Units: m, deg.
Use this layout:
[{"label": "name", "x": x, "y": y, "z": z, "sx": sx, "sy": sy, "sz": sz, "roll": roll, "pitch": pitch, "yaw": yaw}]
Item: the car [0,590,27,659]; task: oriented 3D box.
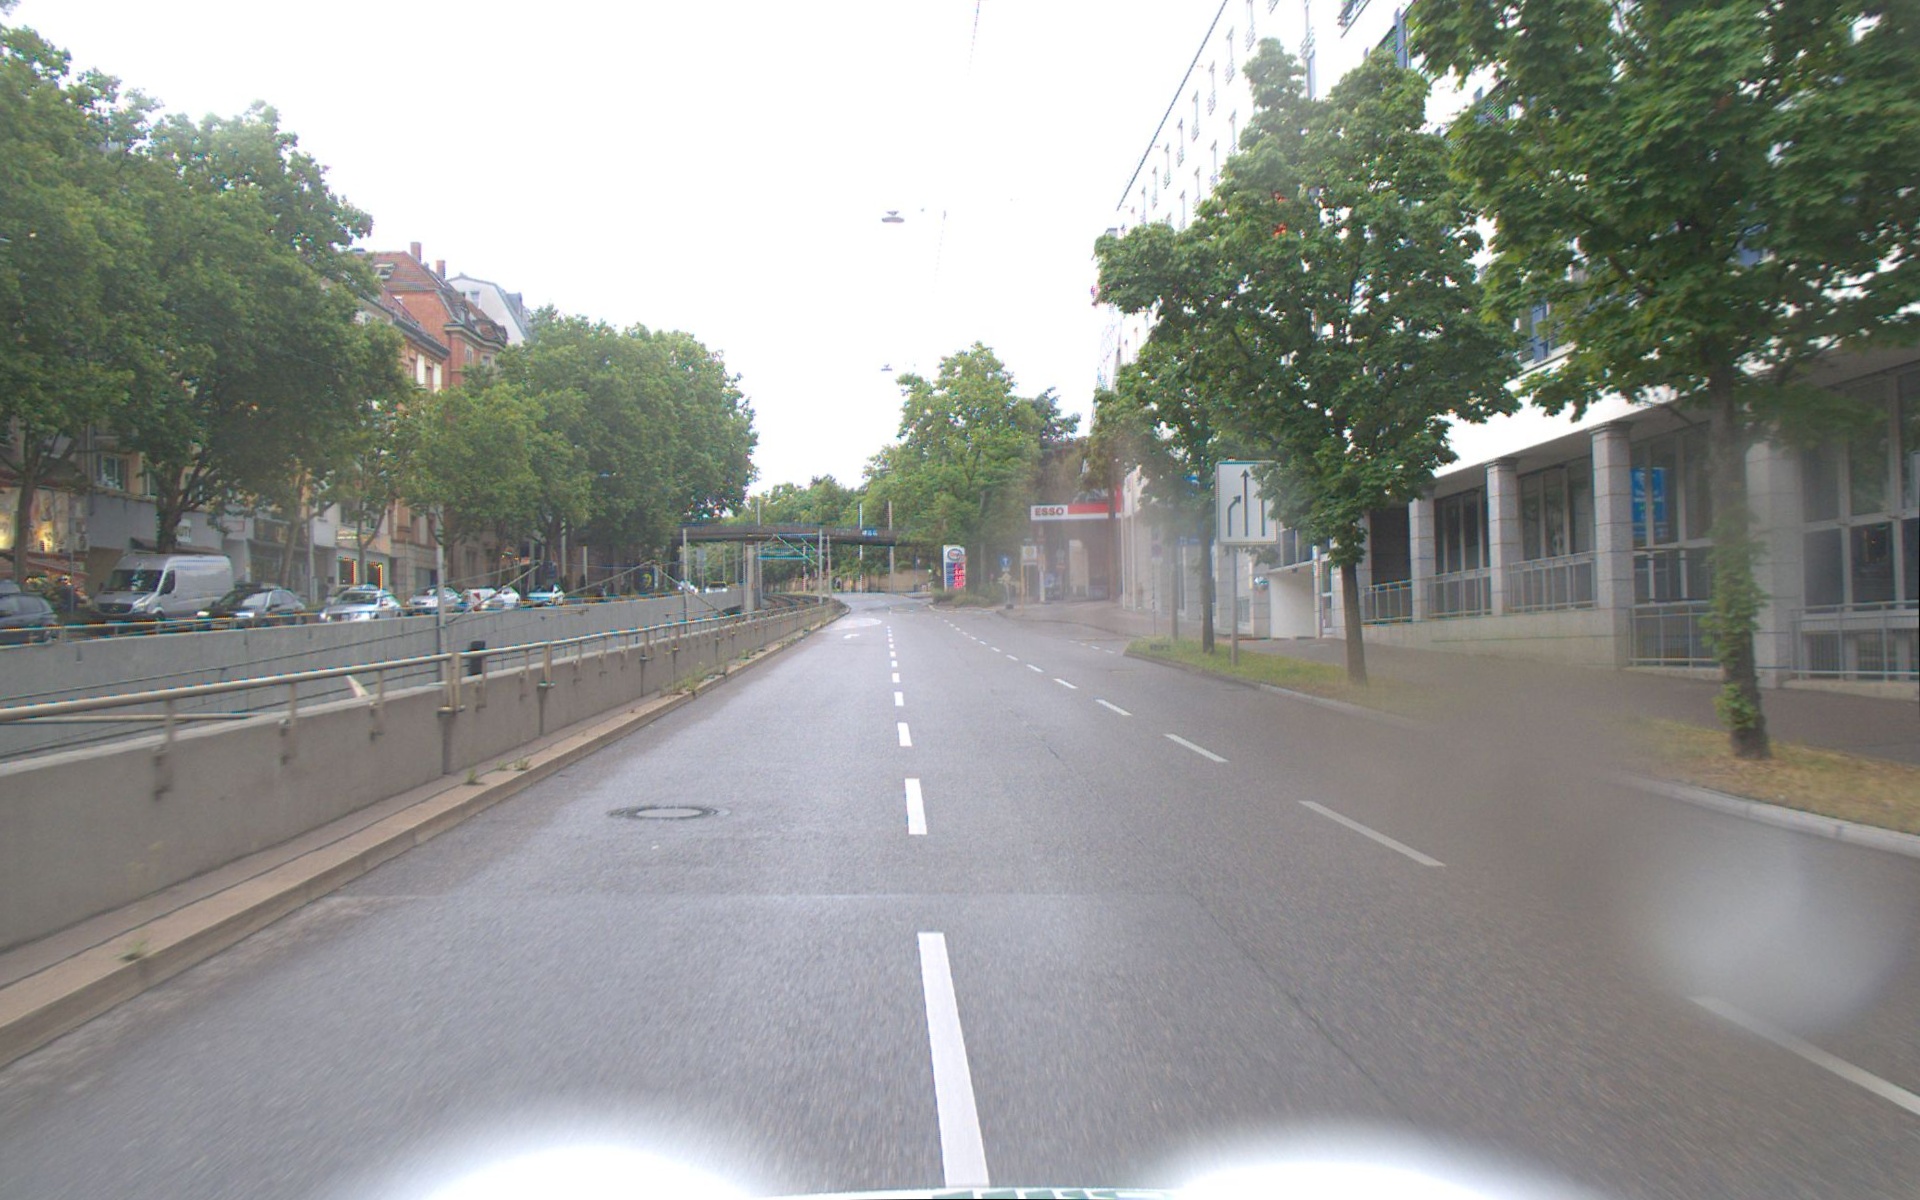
[{"label": "car", "x": -23.108, "y": 0.573, "z": 37.090, "sx": 1.660, "sy": 1.577, "sz": 4.066, "roll": 0, "pitch": 1, "yaw": 9}]

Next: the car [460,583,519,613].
[{"label": "car", "x": -26.443, "y": -0.123, "z": 93.131, "sx": 1.888, "sy": 1.629, "sz": 5.198, "roll": 0, "pitch": 1, "yaw": -1}]

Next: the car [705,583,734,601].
[{"label": "car", "x": -20.561, "y": -0.707, "z": 141.559, "sx": 1.986, "sy": 1.536, "sz": 4.880, "roll": 0, "pitch": 1, "yaw": -3}]

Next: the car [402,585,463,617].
[{"label": "car", "x": -26.620, "y": 0.031, "z": 83.527, "sx": 1.757, "sy": 1.536, "sz": 4.207, "roll": 0, "pitch": 1, "yaw": 0}]

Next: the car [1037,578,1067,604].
[{"label": "car", "x": 6.344, "y": -0.626, "z": 113.943, "sx": 1.735, "sy": 1.652, "sz": 3.869, "roll": -3, "pitch": 0, "yaw": 7}]

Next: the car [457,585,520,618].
[{"label": "car", "x": -22.827, "y": 0.051, "z": 80.165, "sx": 1.808, "sy": 1.536, "sz": 4.017, "roll": 0, "pitch": 1, "yaw": 1}]

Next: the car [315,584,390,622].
[{"label": "car", "x": -26.766, "y": 0.108, "z": 73.033, "sx": 1.757, "sy": 1.598, "sz": 4.207, "roll": 0, "pitch": 1, "yaw": 0}]

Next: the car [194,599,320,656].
[{"label": "car", "x": -19.976, "y": 0.755, "z": 47.216, "sx": 1.757, "sy": 1.537, "sz": 4.344, "roll": 0, "pitch": 0, "yaw": 0}]

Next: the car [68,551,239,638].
[{"label": "car", "x": -26.740, "y": -0.220, "z": 55.202, "sx": 2.402, "sy": 2.709, "sz": 6.930, "roll": 0, "pitch": 1, "yaw": -1}]

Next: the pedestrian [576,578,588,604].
[{"label": "pedestrian", "x": -29.201, "y": -0.684, "z": 127.857, "sx": 0.655, "sy": 2.049, "sz": 0.935, "roll": 1, "pitch": -1, "yaw": 1}]

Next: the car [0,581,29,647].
[{"label": "car", "x": -26.416, "y": 0.382, "z": 43.390, "sx": 1.758, "sy": 1.759, "sz": 4.203, "roll": 0, "pitch": 1, "yaw": -3}]

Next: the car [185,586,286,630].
[{"label": "car", "x": -26.753, "y": 0.280, "z": 61.236, "sx": 1.758, "sy": 1.536, "sz": 4.671, "roll": 0, "pitch": 1, "yaw": -1}]

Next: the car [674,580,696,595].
[{"label": "car", "x": -33.541, "y": -1.537, "z": 201.853, "sx": 1.916, "sy": 1.885, "sz": 4.968, "roll": 0, "pitch": 1, "yaw": 0}]

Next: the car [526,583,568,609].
[{"label": "car", "x": -26.404, "y": -0.271, "z": 105.825, "sx": 1.758, "sy": 1.639, "sz": 4.111, "roll": 0, "pitch": 1, "yaw": -2}]

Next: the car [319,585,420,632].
[{"label": "car", "x": -20.416, "y": 0.274, "z": 57.380, "sx": 1.809, "sy": 1.536, "sz": 4.821, "roll": 0, "pitch": 1, "yaw": 0}]
